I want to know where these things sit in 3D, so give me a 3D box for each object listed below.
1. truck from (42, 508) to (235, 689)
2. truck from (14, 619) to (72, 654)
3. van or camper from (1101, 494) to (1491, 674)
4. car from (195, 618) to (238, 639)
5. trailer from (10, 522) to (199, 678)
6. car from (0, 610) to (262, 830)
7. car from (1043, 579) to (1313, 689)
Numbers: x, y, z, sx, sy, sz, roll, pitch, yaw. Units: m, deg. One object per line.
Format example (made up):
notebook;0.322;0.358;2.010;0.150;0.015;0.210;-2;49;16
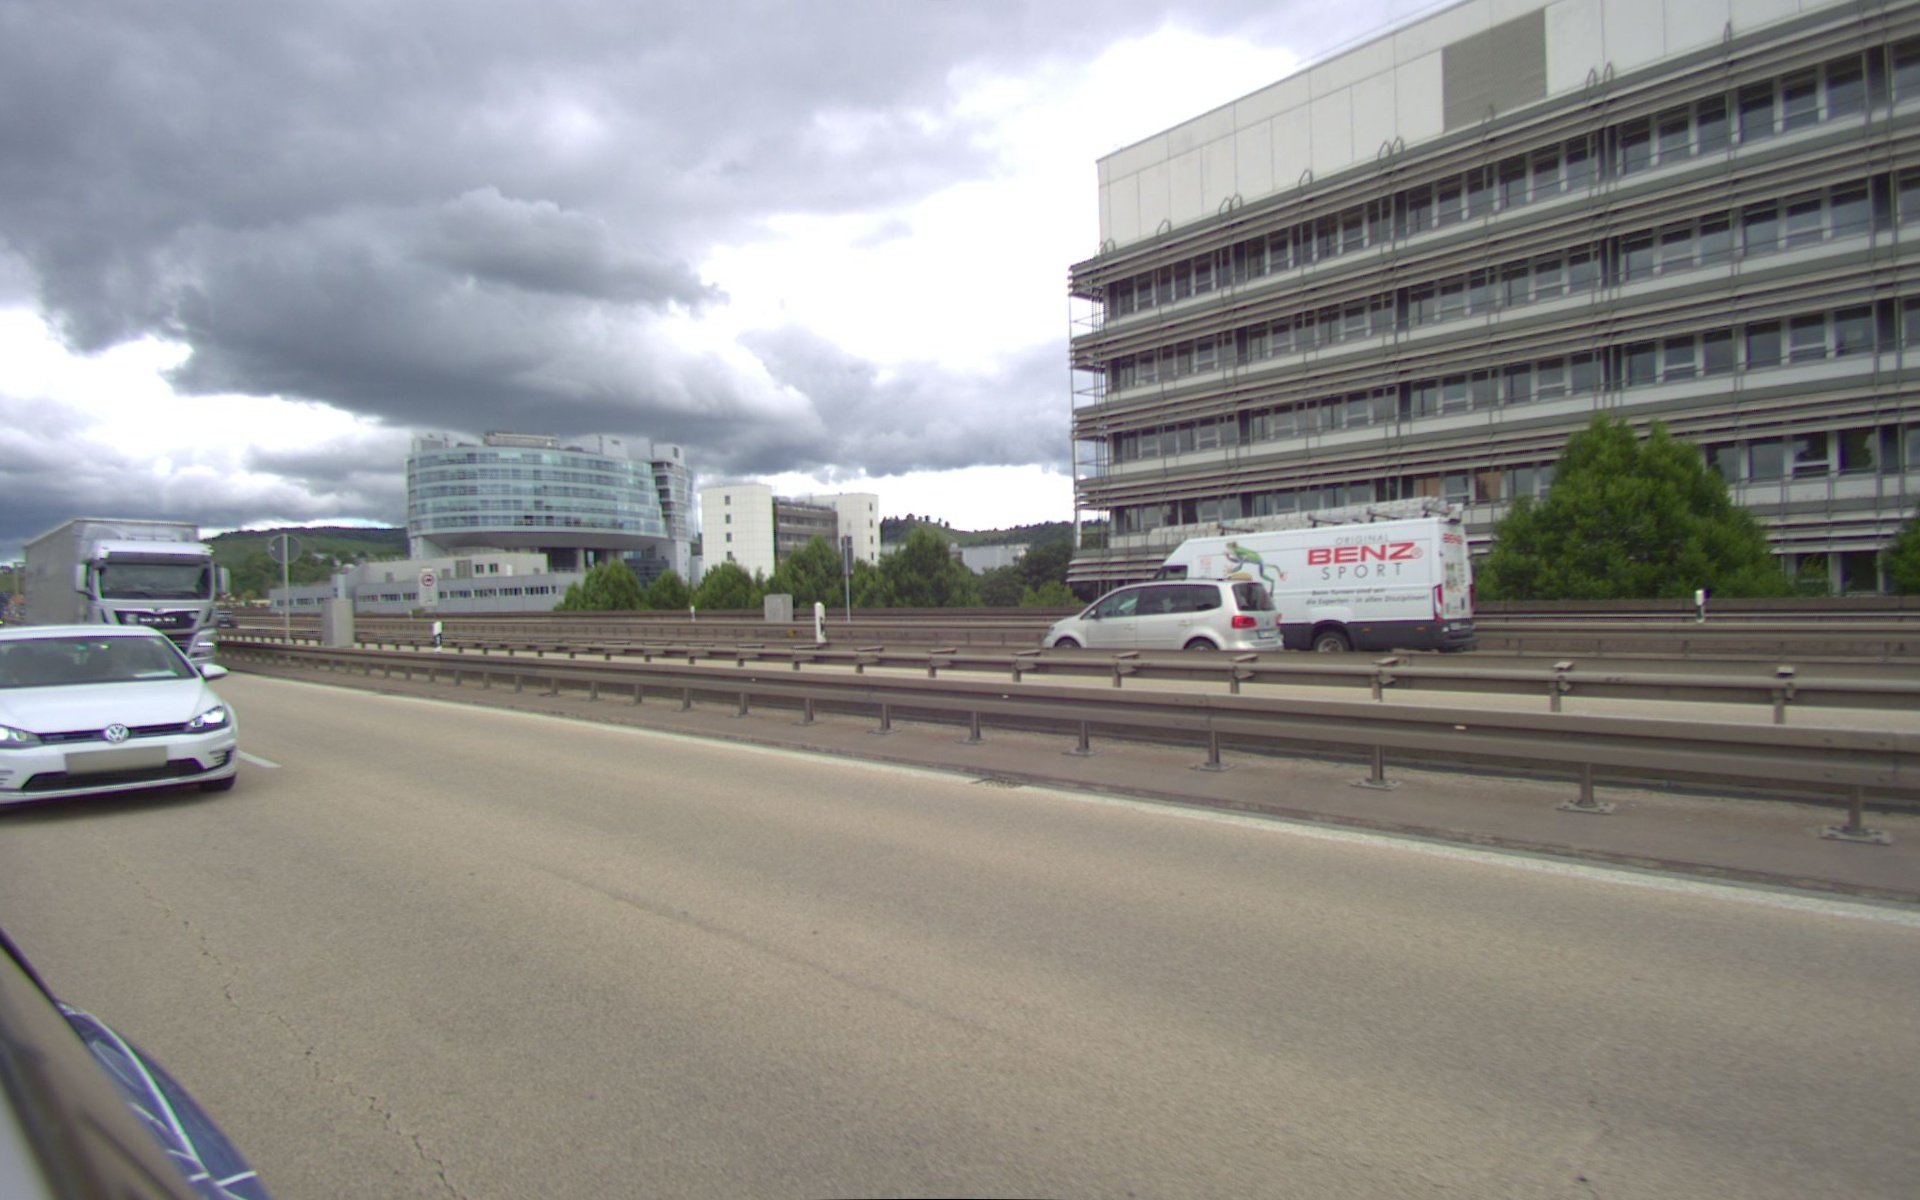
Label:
truck;-21.054;-0.059;25.832;5.690;4.067;3.099;-1;1;44
truck;-43.109;1.677;47.555;3.514;1.541;1.805;-1;0;44
van or camper;6.396;-0.213;20.221;7.117;3.031;2.147;-1;-1;43
car;-52.890;2.012;71.991;4.231;1.387;1.767;-1;1;44
trailer;-26.971;0.014;31.573;11.767;4.056;3.147;-1;1;44
car;-7.753;0.861;8.889;4.062;1.519;1.904;-1;0;44
car;3.651;0.519;17.465;4.313;1.662;1.664;-1;1;43
